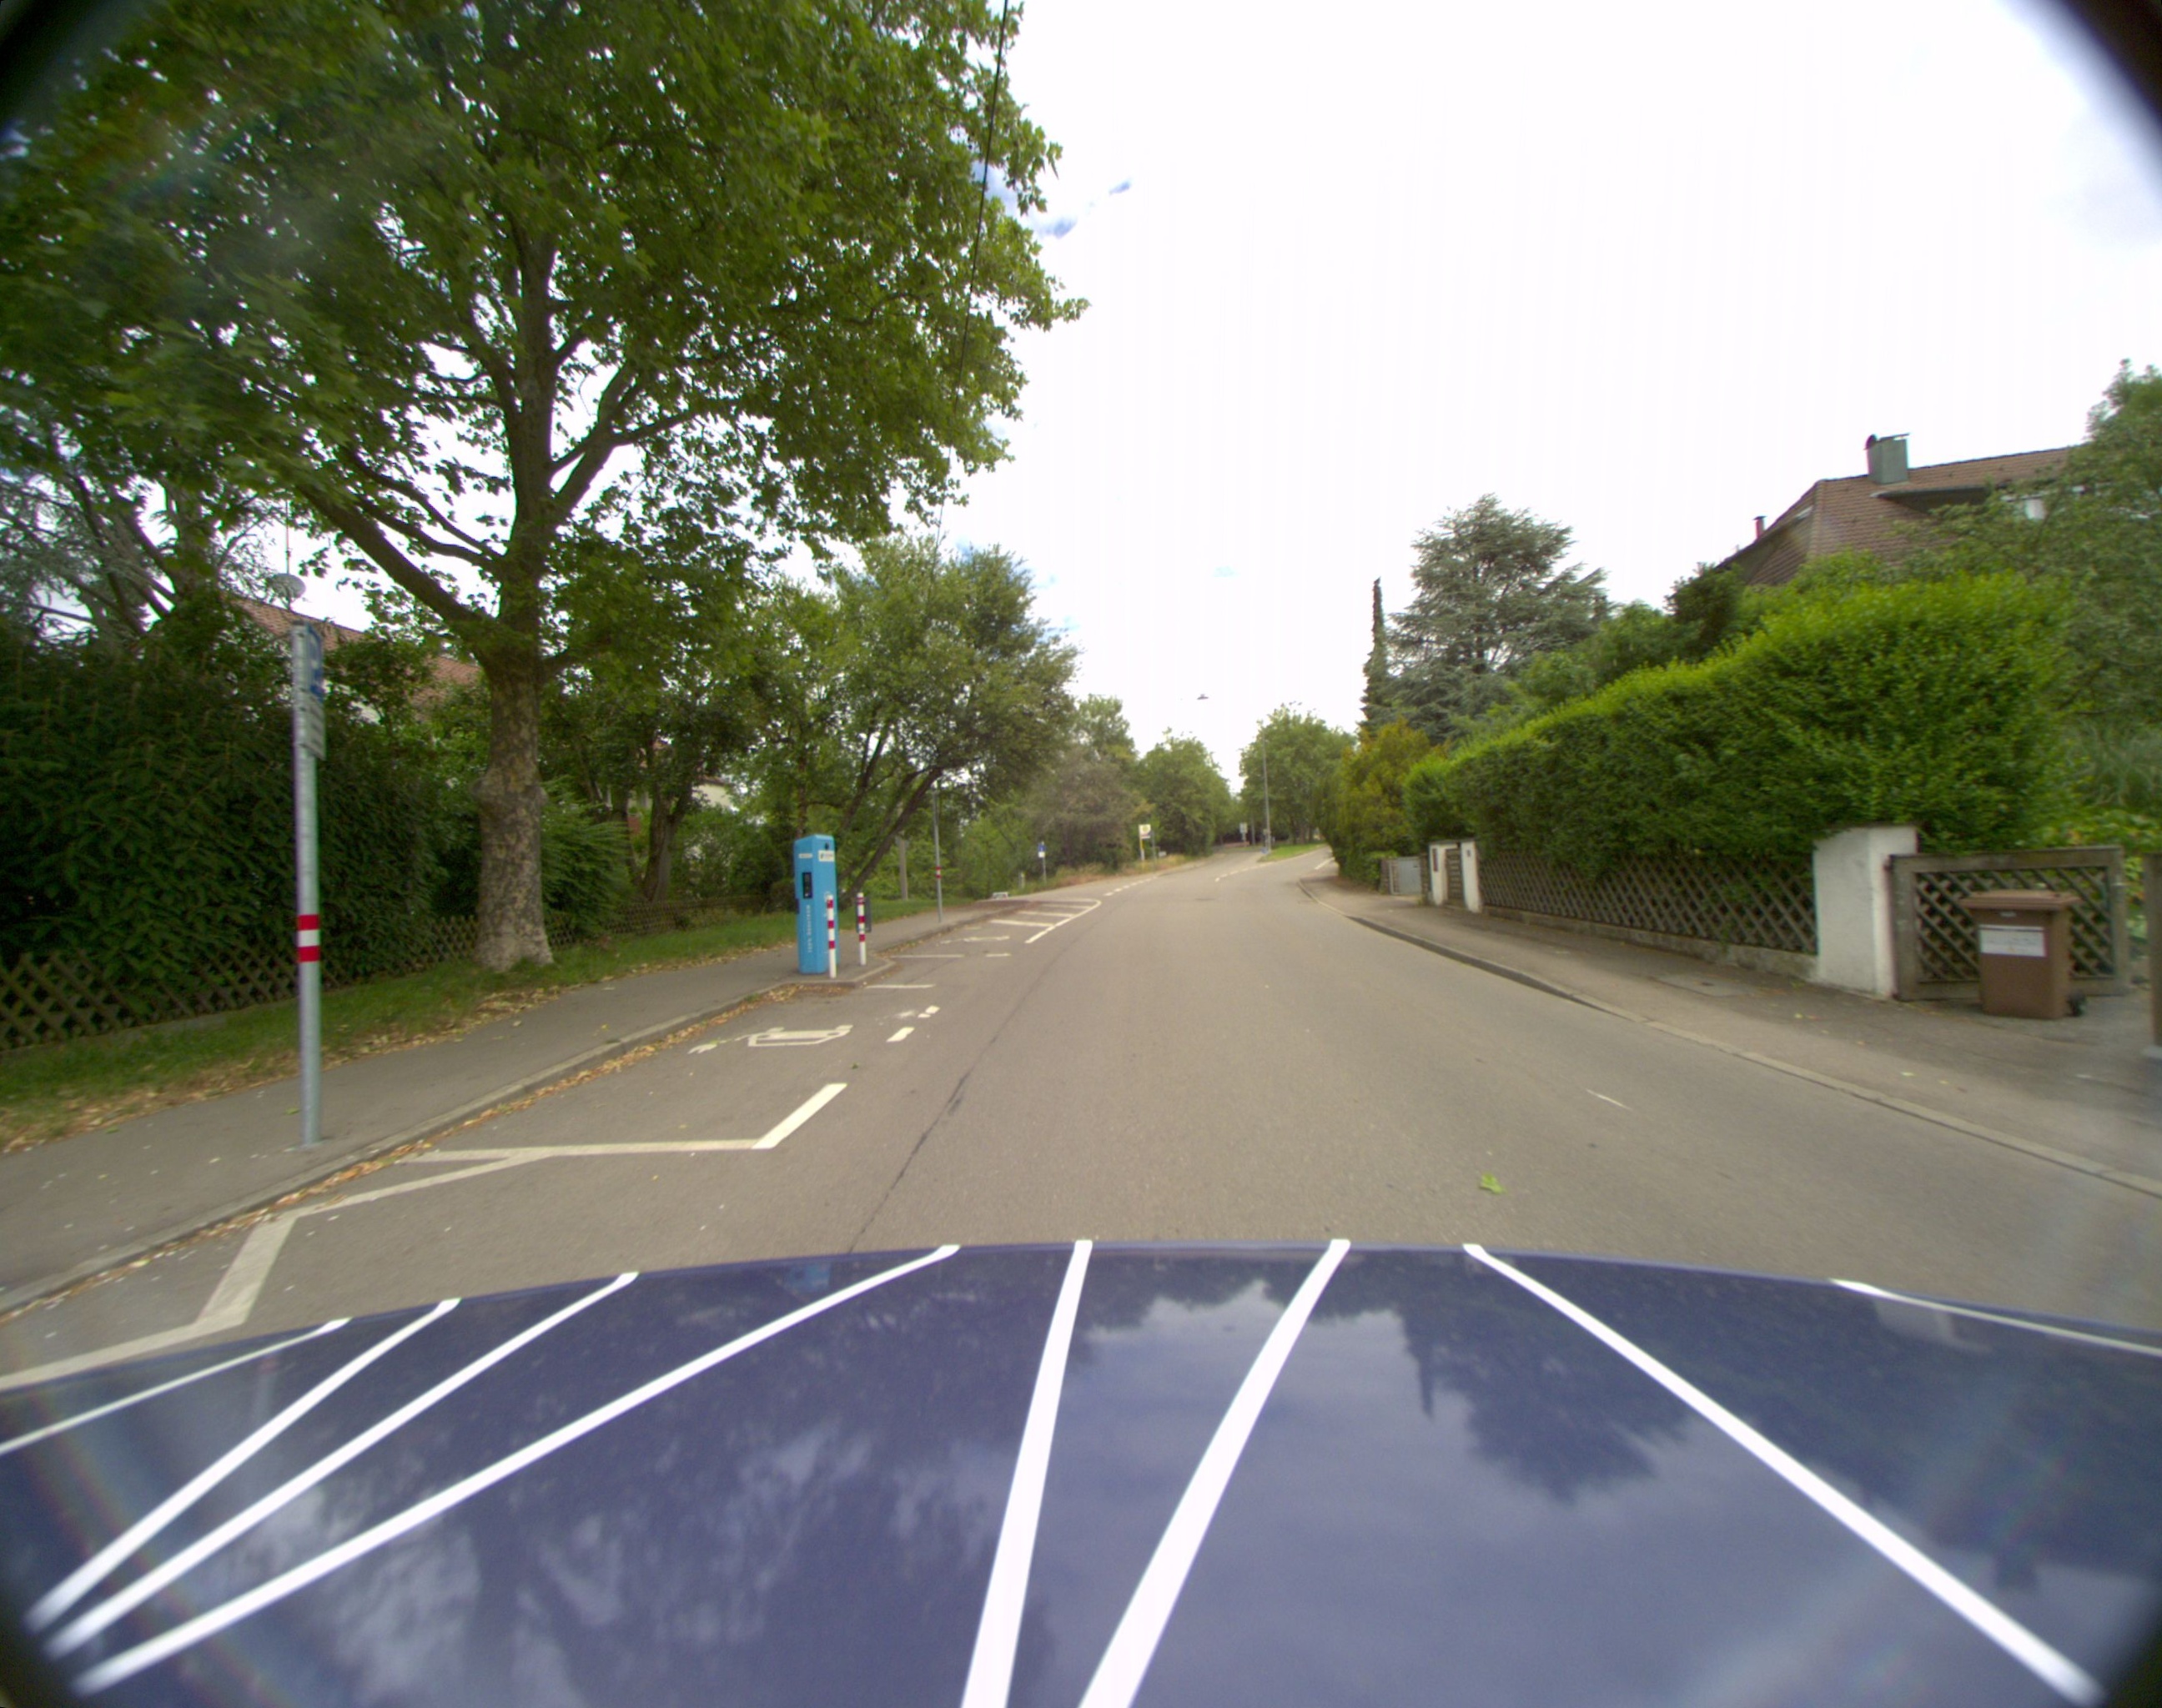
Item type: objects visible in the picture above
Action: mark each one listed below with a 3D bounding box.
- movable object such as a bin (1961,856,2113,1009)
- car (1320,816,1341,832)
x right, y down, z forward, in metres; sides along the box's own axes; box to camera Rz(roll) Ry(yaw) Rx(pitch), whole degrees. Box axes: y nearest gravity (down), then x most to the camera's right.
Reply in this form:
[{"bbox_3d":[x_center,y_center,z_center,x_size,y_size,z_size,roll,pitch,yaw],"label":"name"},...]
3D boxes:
[{"bbox_3d":[6.929,0.550,5.521,0.448,1.025,0.499,-4,-1,-13],"label":"movable object such as a bin"},{"bbox_3d":[32.474,-3.915,98.942,1.759,1.583,4.618,-5,3,27],"label":"car"}]
